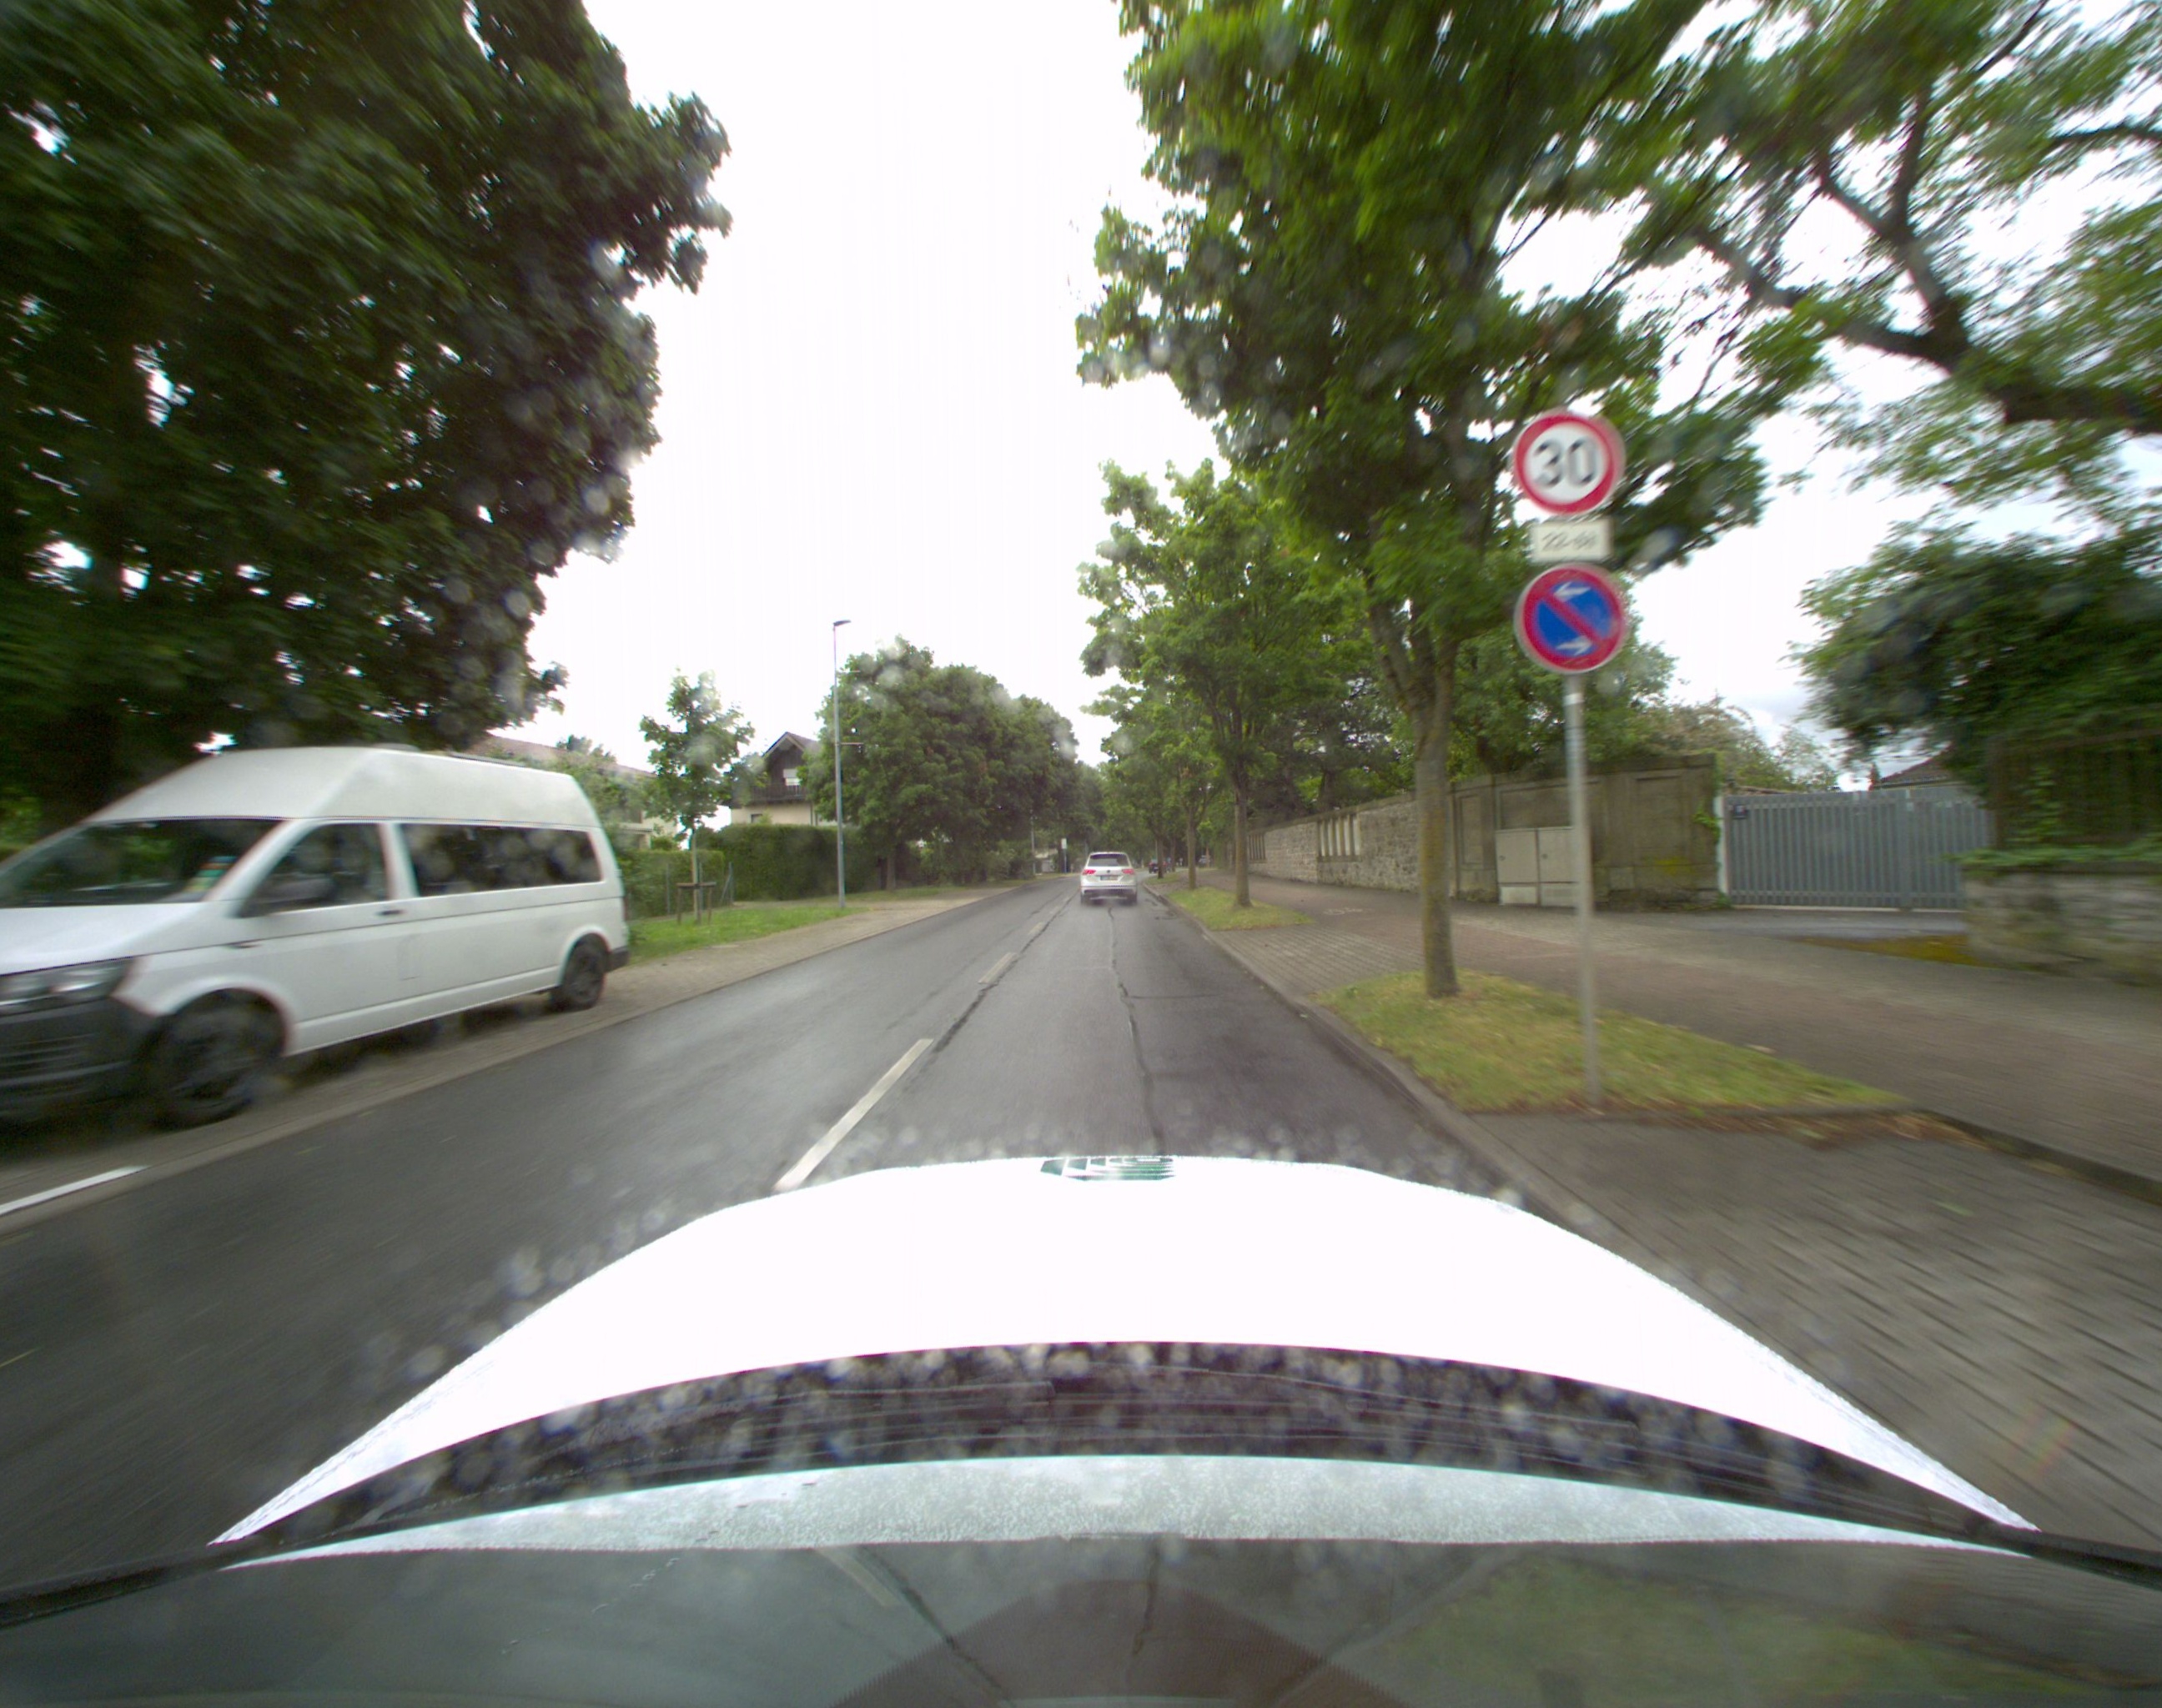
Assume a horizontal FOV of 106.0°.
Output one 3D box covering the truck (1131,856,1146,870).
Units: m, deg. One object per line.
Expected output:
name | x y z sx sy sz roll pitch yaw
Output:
truck | 11.202 1.832 158.652 2.270 2.597 5.891 -2 -1 10

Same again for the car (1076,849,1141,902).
car | 0.895 0.666 27.274 1.990 1.632 4.001 -1 0 1

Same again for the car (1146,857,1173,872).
car | 7.759 1.016 80.292 1.826 1.487 4.017 0 0 16

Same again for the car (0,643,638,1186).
car | -6.025 0.315 6.459 1.986 2.561 5.234 -2 0 1

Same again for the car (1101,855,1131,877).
car | 2.603 0.886 59.515 1.831 1.487 4.007 -4 -2 7

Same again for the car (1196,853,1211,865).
car | 17.316 0.676 114.825 1.829 1.487 4.012 -4 -2 11
